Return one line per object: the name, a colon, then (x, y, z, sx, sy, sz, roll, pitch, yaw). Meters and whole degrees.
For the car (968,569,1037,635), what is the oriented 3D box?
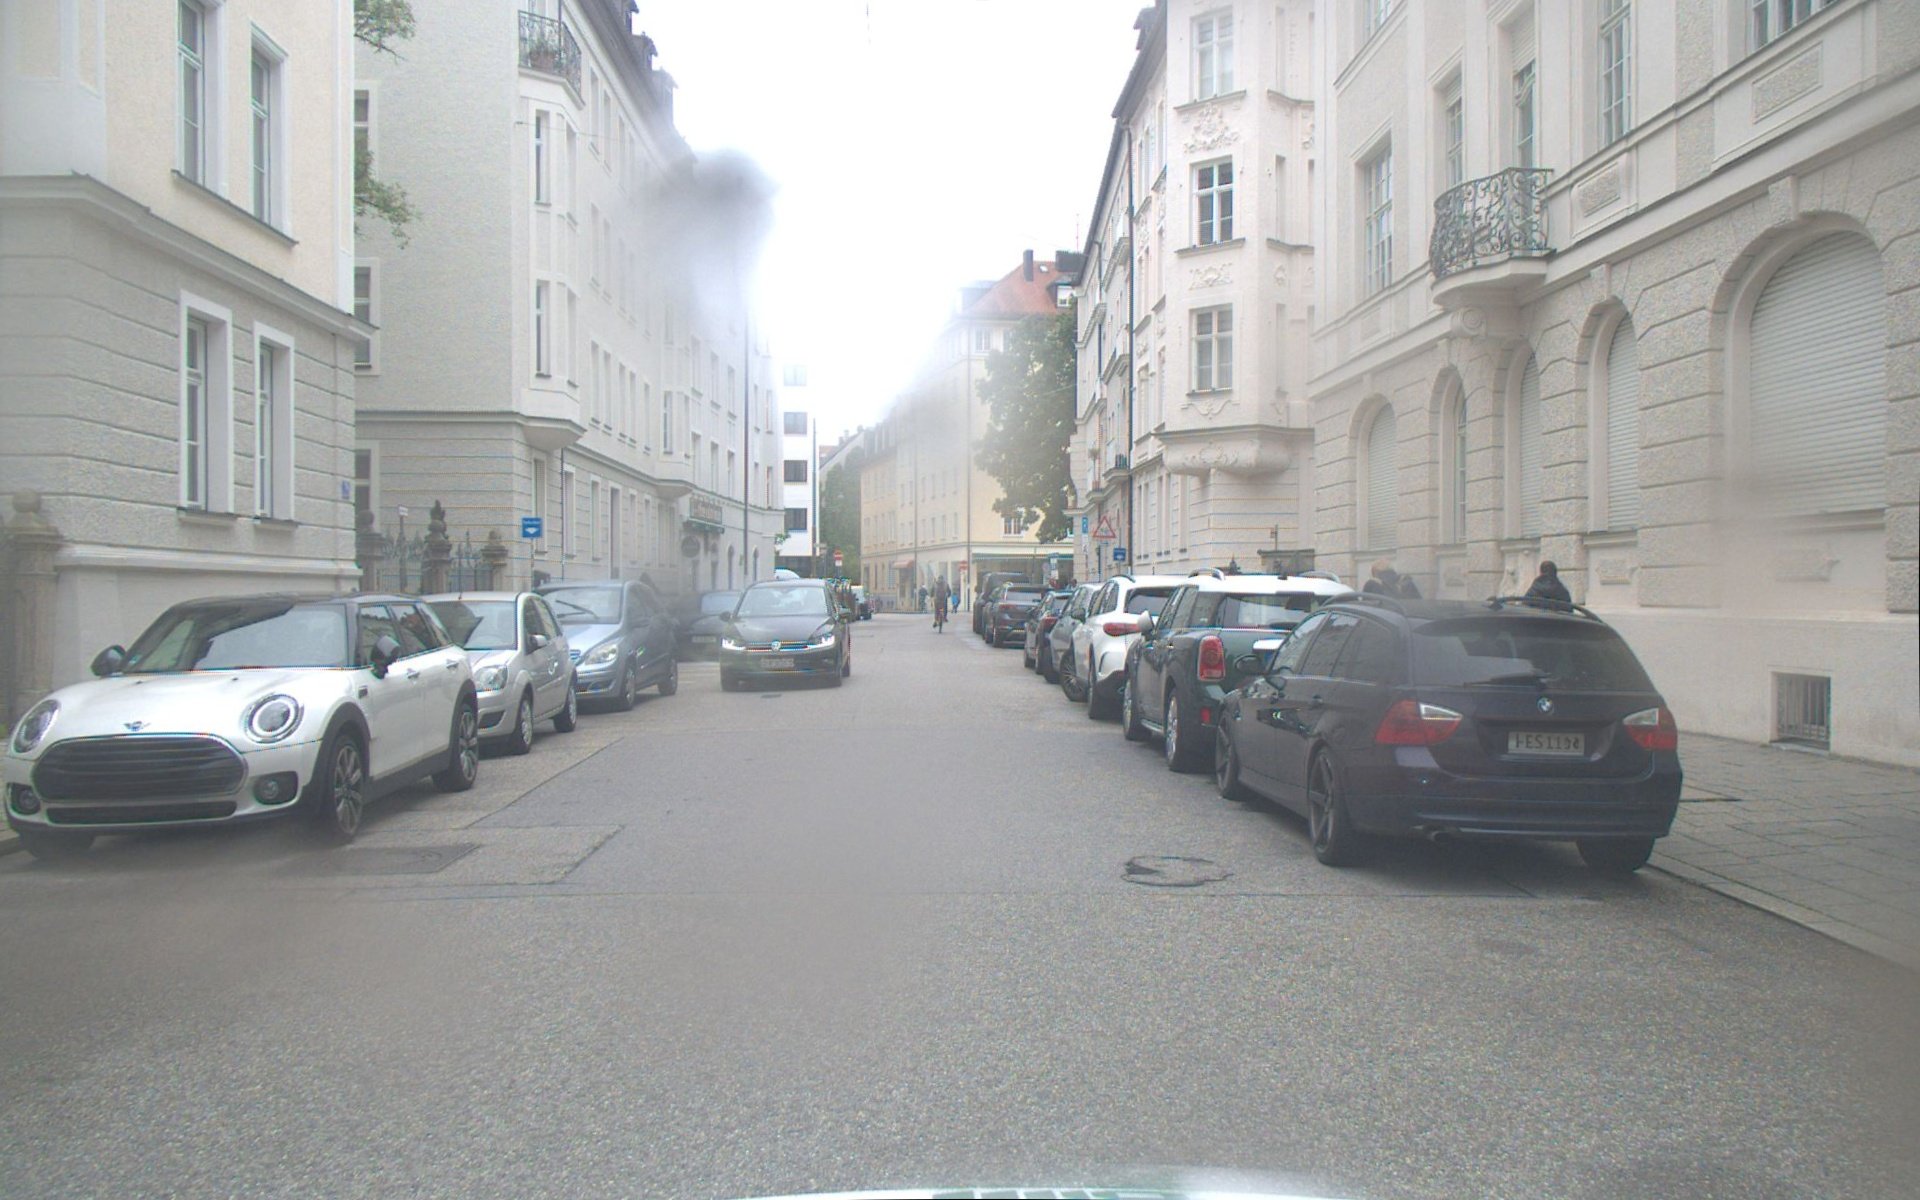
car: (1.323, 0.051, 53.076, 1.872, 1.918, 4.712, 3, 0, -2)

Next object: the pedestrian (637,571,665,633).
pedestrian: (-8.733, 0.056, 46.801, 0.684, 1.737, 0.665, 1, 0, -4)

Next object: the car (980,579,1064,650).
car: (1.496, 0.328, 41.166, 1.673, 1.615, 3.997, 2, 0, -3)

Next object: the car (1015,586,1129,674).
car: (1.961, 0.495, 29.907, 1.580, 1.419, 3.998, 2, 0, -2)

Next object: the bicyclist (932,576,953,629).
bicyclist: (-0.542, 0.076, 51.485, 0.593, 1.635, 0.758, 0, 0, 2)

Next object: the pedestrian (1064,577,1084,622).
pedestrian: (4.395, -0.026, 63.769, 0.666, 1.703, 0.653, -2, 0, -4)

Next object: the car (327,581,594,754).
car: (-4.693, 0.564, 16.087, 1.612, 1.427, 3.997, -2, 0, -4)

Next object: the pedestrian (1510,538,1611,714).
pedestrian: (6.037, 0.252, 16.662, 0.668, 1.708, 0.812, -2, 1, -3)

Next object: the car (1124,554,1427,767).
car: (2.554, 0.439, 14.376, 1.713, 1.551, 4.169, 1, 0, -2)

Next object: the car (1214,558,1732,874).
car: (2.788, 0.530, 10.037, 1.677, 1.477, 4.223, 1, 1, -2)

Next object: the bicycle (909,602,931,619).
bicycle: (-2.456, 0.651, 101.384, 0.833, 1.019, 2.160, 1, 0, -15)

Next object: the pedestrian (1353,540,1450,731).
pedestrian: (4.344, 0.335, 16.324, 0.668, 1.806, 0.855, -2, 1, -1)

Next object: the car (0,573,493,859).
car: (-4.389, 0.601, 10.567, 1.761, 1.460, 4.078, 1, 0, -2)

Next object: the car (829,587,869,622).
car: (-5.333, 0.217, 79.931, 1.642, 1.625, 3.945, -1, 0, 0)

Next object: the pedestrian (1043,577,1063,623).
pedestrian: (3.565, -0.009, 63.253, 0.689, 1.758, 0.703, 0, 0, -4)

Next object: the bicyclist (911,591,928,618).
bicyclist: (-2.487, 0.270, 101.506, 0.768, 1.666, 0.972, 1, 0, -16)

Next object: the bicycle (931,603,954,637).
bicycle: (-0.544, 0.606, 51.479, 0.626, 1.022, 1.575, 0, 0, 2)

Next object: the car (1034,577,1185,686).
car: (2.238, 0.449, 25.703, 1.674, 1.527, 3.996, 1, 0, -4)

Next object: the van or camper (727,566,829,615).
van or camper: (-10.583, -0.508, 95.866, 5.796, 2.724, 1.869, 0, -2, -10)

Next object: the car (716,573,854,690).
car: (-2.537, 0.431, 24.830, 1.689, 1.560, 4.084, -2, 0, -2)

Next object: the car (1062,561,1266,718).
car: (2.324, 0.379, 19.956, 1.857, 1.665, 4.391, 1, 1, -1)

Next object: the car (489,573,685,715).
car: (-4.701, 0.487, 21.408, 1.662, 1.608, 4.060, -2, 1, -2)

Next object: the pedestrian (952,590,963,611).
pedestrian: (-0.160, 0.039, 103.056, 0.684, 1.292, 0.651, 0, 0, 3)

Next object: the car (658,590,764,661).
car: (-5.218, 0.496, 35.158, 1.813, 1.391, 4.698, 1, 0, -4)
